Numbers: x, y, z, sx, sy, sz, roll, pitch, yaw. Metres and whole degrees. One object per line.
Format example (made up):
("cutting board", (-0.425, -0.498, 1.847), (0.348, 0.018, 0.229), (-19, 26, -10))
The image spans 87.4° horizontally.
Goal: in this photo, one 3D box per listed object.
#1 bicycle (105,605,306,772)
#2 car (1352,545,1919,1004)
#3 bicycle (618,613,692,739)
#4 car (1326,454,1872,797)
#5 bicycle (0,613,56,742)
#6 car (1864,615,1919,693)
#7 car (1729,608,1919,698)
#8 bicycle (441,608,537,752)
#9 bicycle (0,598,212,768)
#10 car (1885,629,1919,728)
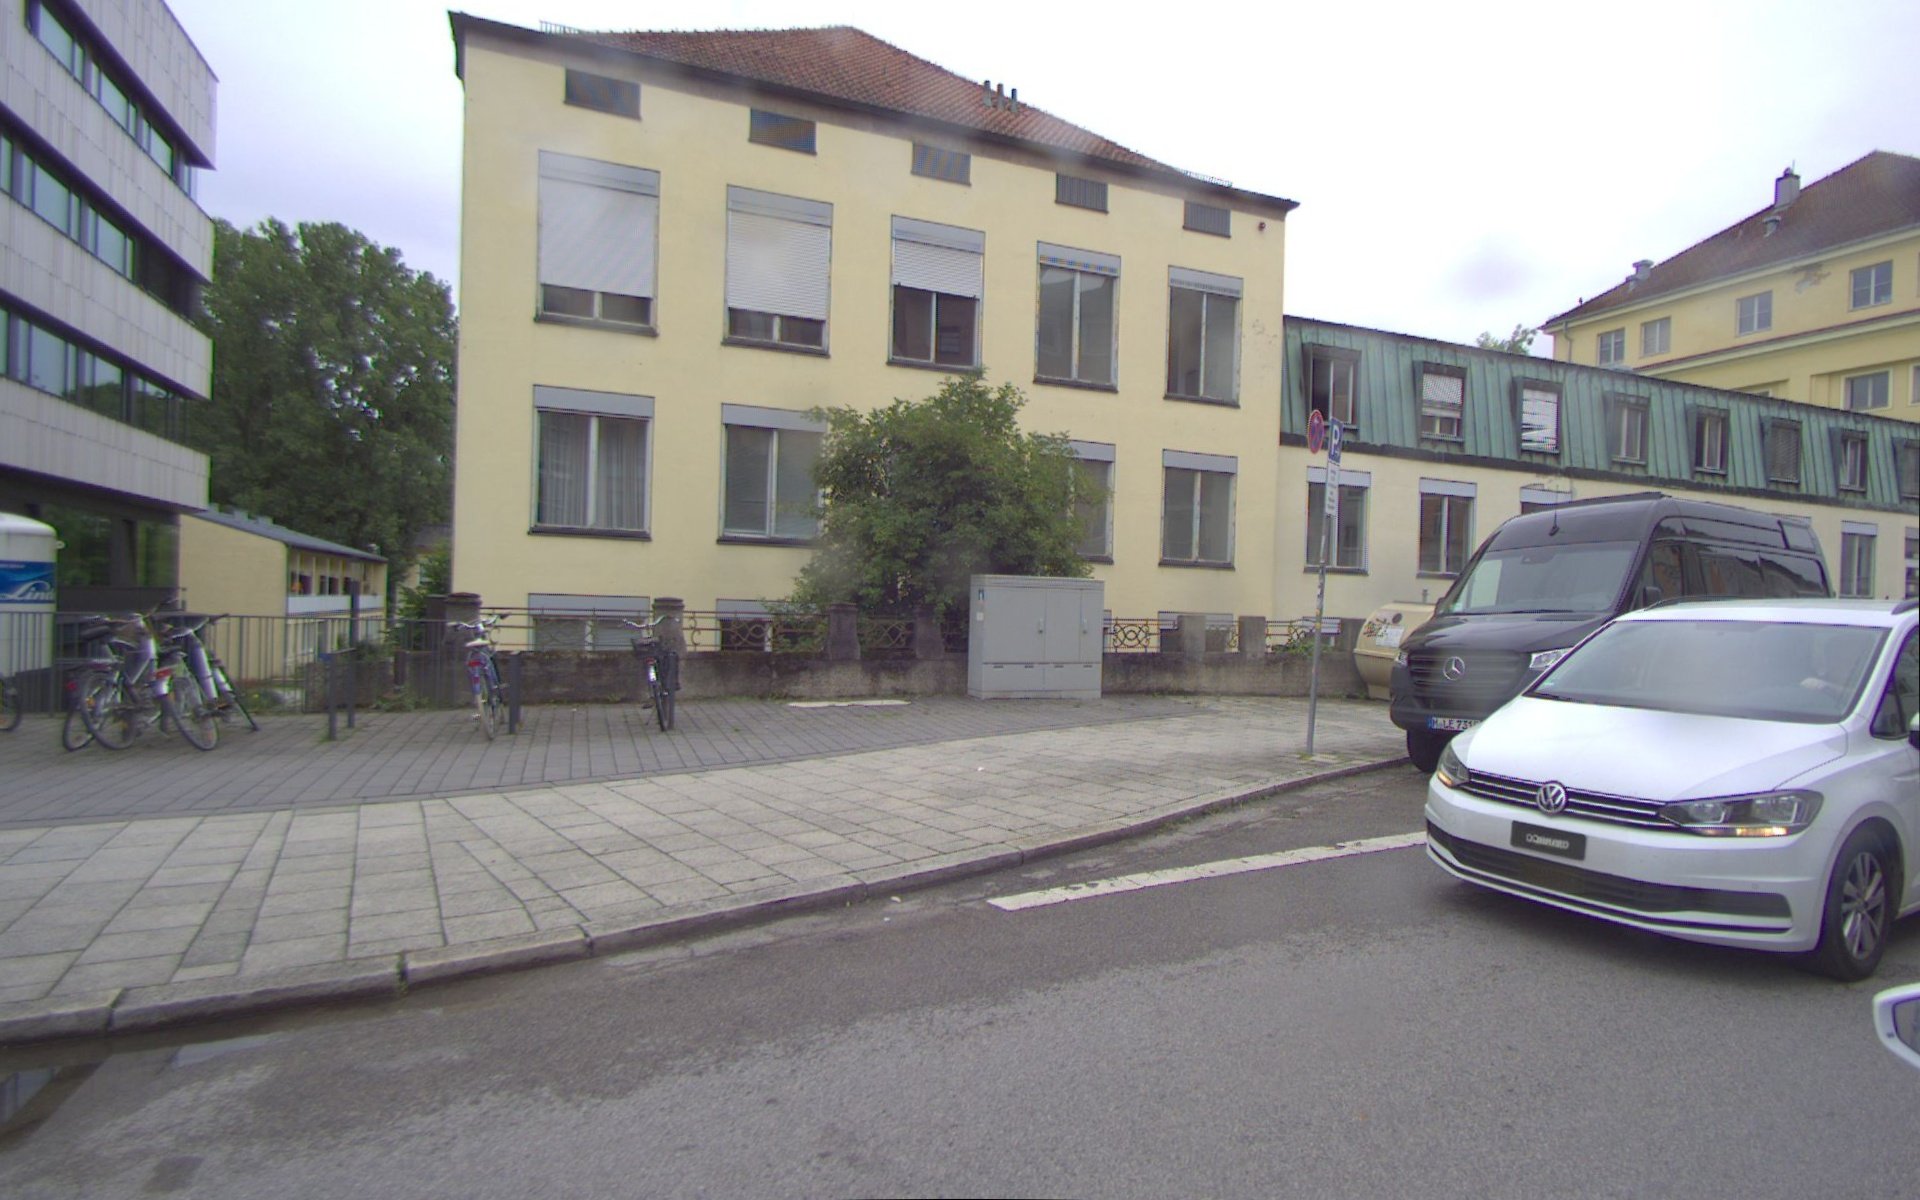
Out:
("bicycle", (-6.549, 0.685, 8.893), (0.626, 1.156, 2.484), (1, 2, -18))
("car", (4.549, 0.759, 5.541), (4.449, 1.642, 2.018), (3, -3, -28))
("bicycle", (-3.229, 0.748, 10.613), (0.667, 1.107, 1.903), (1, 2, -18))
("car", (6.857, 0.325, 10.580), (5.883, 2.751, 2.410), (3, -1, -30))
("bicycle", (-8.321, 0.681, 8.296), (0.531, 1.043, 1.865), (1, 2, -18))
("car", (23.136, 1.248, 23.317), (3.694, 1.683, 1.715), (1, 2, -23))
("car", (19.057, 1.089, 21.810), (3.942, 1.710, 1.989), (1, 2, -23))
("bicycle", (-4.476, 0.701, 9.646), (0.564, 1.147, 1.955), (1, 2, -18))
("bicycle", (-7.106, 0.607, 8.451), (0.572, 1.150, 2.308), (1, 2, -18))
("car", (16.395, 1.241, 15.637), (3.692, 1.473, 1.693), (1, 2, -27))
